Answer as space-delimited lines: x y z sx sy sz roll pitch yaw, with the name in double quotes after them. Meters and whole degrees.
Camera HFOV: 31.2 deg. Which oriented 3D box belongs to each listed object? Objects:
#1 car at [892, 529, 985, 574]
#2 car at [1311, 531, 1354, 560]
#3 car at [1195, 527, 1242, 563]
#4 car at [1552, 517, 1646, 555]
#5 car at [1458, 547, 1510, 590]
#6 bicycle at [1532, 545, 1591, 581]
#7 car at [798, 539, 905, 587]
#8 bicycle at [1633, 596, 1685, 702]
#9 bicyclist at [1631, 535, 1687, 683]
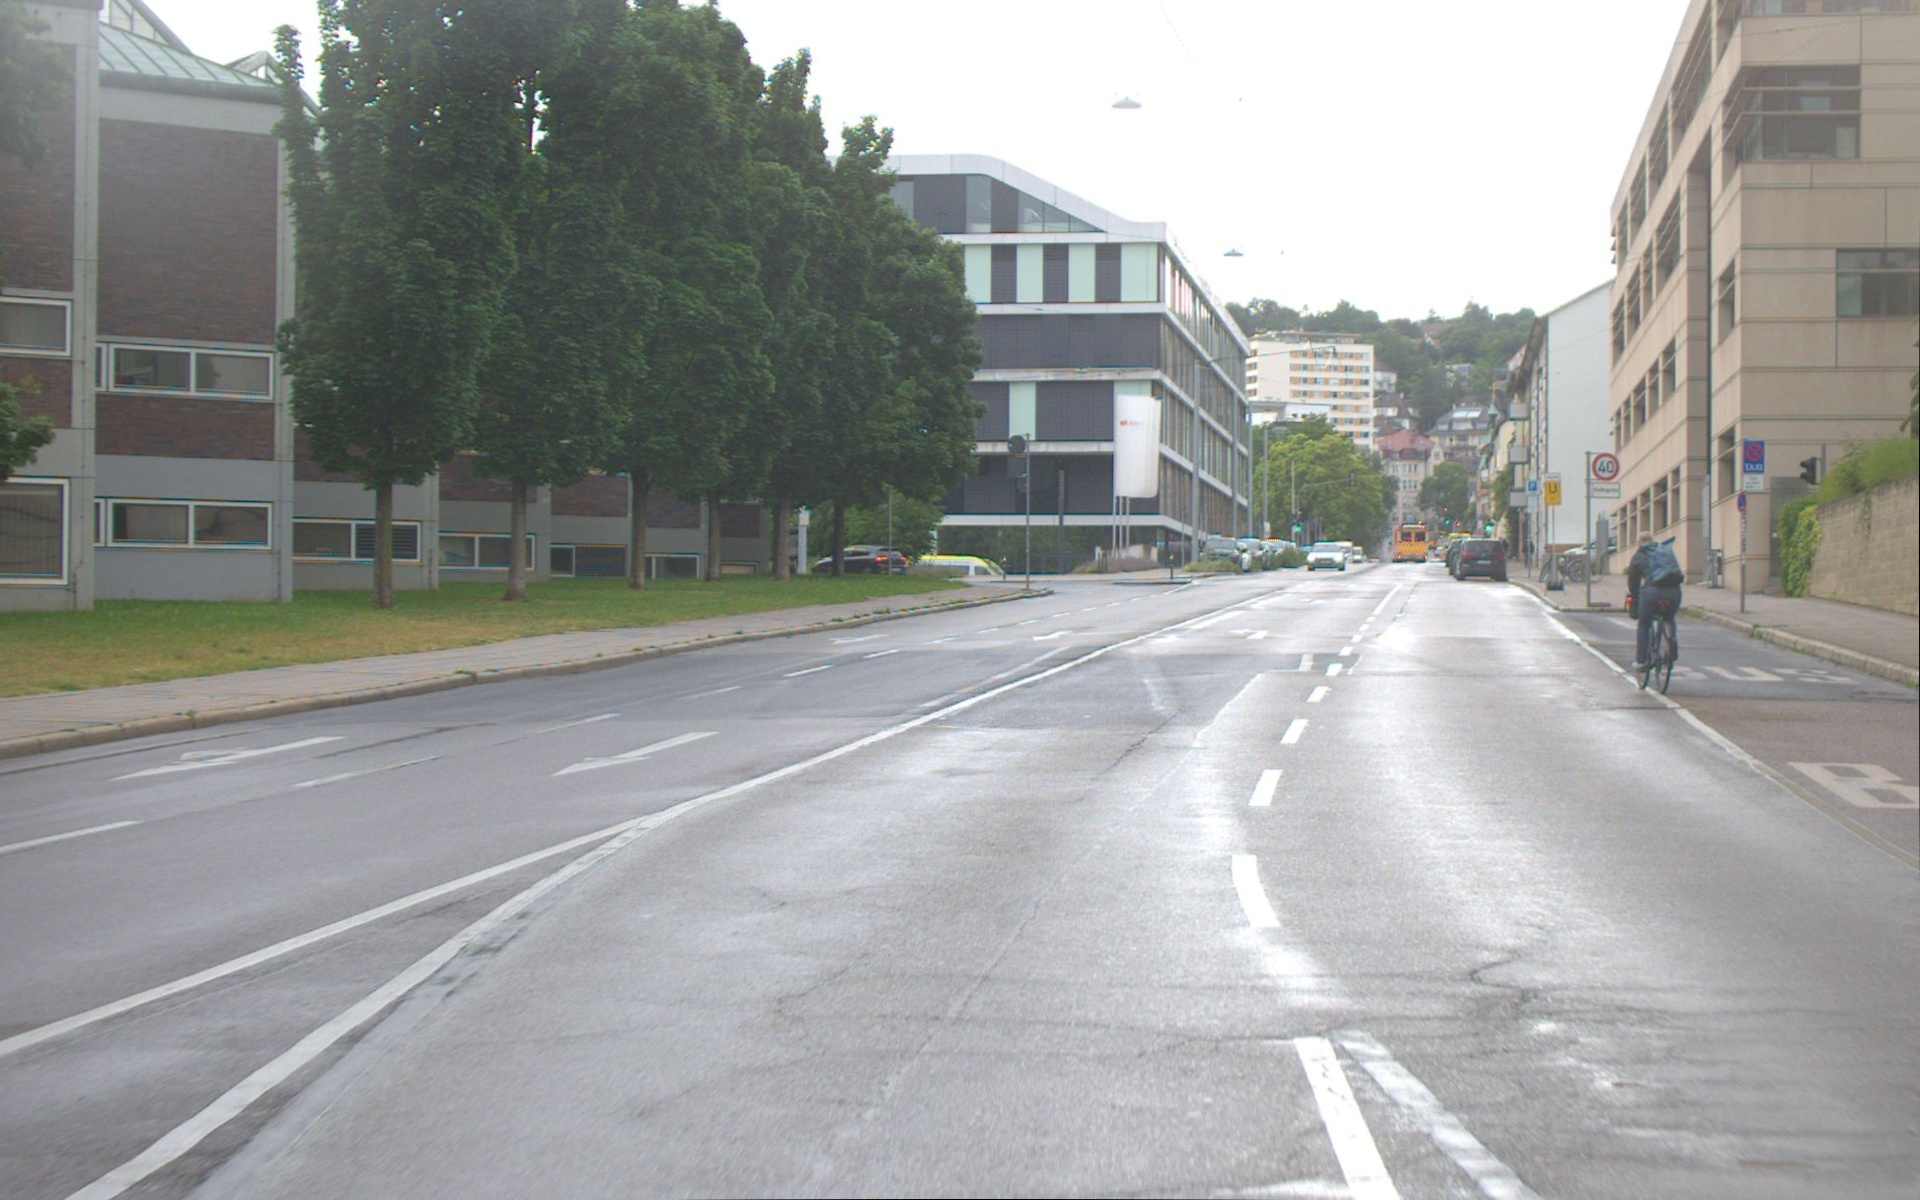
-1.087 -2.473 175.108 4.590 2.167 1.931 1 1 2 "car"
20.061 -2.939 185.118 1.882 1.486 5.218 -2 1 10 "car"
12.112 -2.577 160.723 1.850 1.612 4.489 1 1 8 "car"
31.844 -3.185 171.355 4.439 1.707 1.904 -2 0 8 "car"
19.979 -1.210 131.261 1.771 1.598 4.393 1 1 6 "car"
18.954 -1.170 108.363 1.729 1.115 0.660 0 1 3 "bicycle"
-4.330 -1.483 137.078 3.907 1.809 1.934 1 1 11 "car"
6.868 0.470 33.810 0.447 0.960 1.689 1 2 10 "bicycle"
6.871 0.083 33.815 0.484 1.428 0.930 1 1 10 "bicyclist"
